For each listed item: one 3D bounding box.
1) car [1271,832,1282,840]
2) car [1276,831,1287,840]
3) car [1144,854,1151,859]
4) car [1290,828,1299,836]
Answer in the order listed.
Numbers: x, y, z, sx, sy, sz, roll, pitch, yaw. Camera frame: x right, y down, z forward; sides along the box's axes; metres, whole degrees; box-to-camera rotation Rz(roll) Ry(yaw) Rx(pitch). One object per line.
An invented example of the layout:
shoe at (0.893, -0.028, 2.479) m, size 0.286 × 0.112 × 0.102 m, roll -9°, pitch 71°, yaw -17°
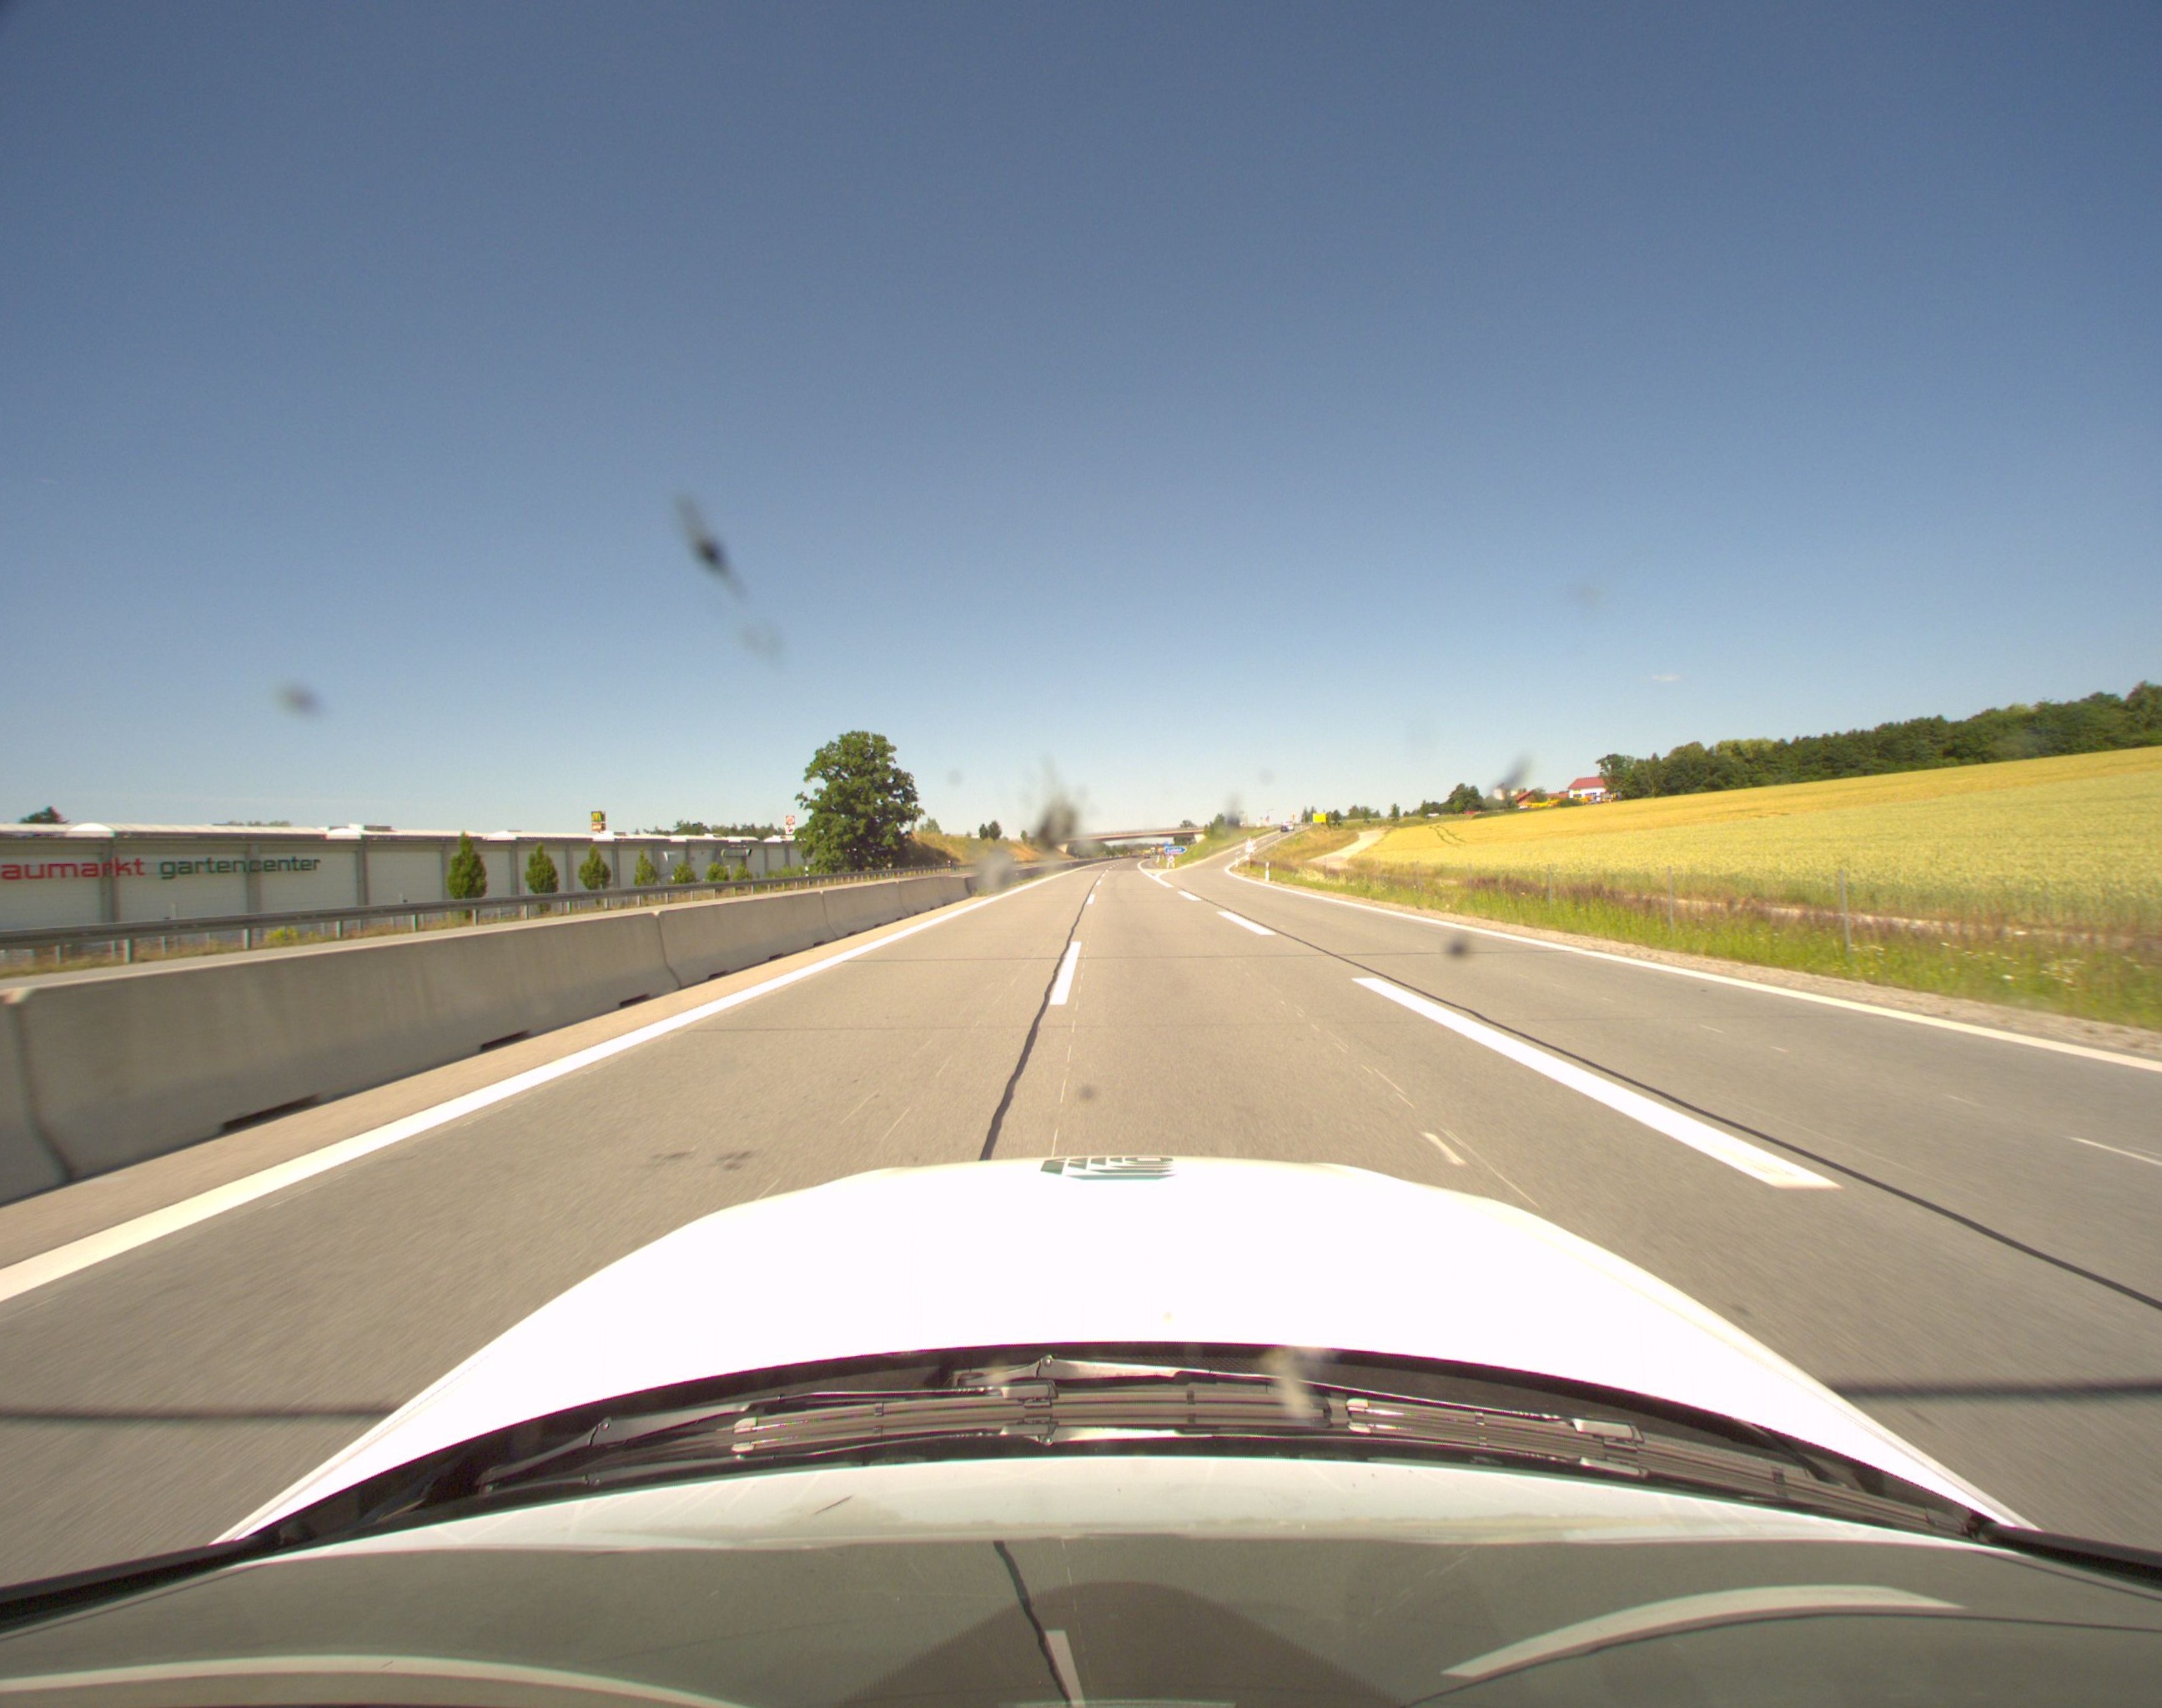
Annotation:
car at (42.702, -3.862, 177.768) m, size 1.977 × 1.618 × 4.020 m, roll -3°, pitch 0°, yaw 19°
car at (44.028, -4.055, 178.619) m, size 1.977 × 2.013 × 4.020 m, roll -3°, pitch 0°, yaw 19°
car at (20.384, 0.793, 251.266) m, size 1.985 × 1.420 × 4.004 m, roll -3°, pitch 0°, yaw 4°
car at (58.250, -6.006, 221.978) m, size 1.977 × 2.013 × 4.020 m, roll -3°, pitch 0°, yaw 19°
